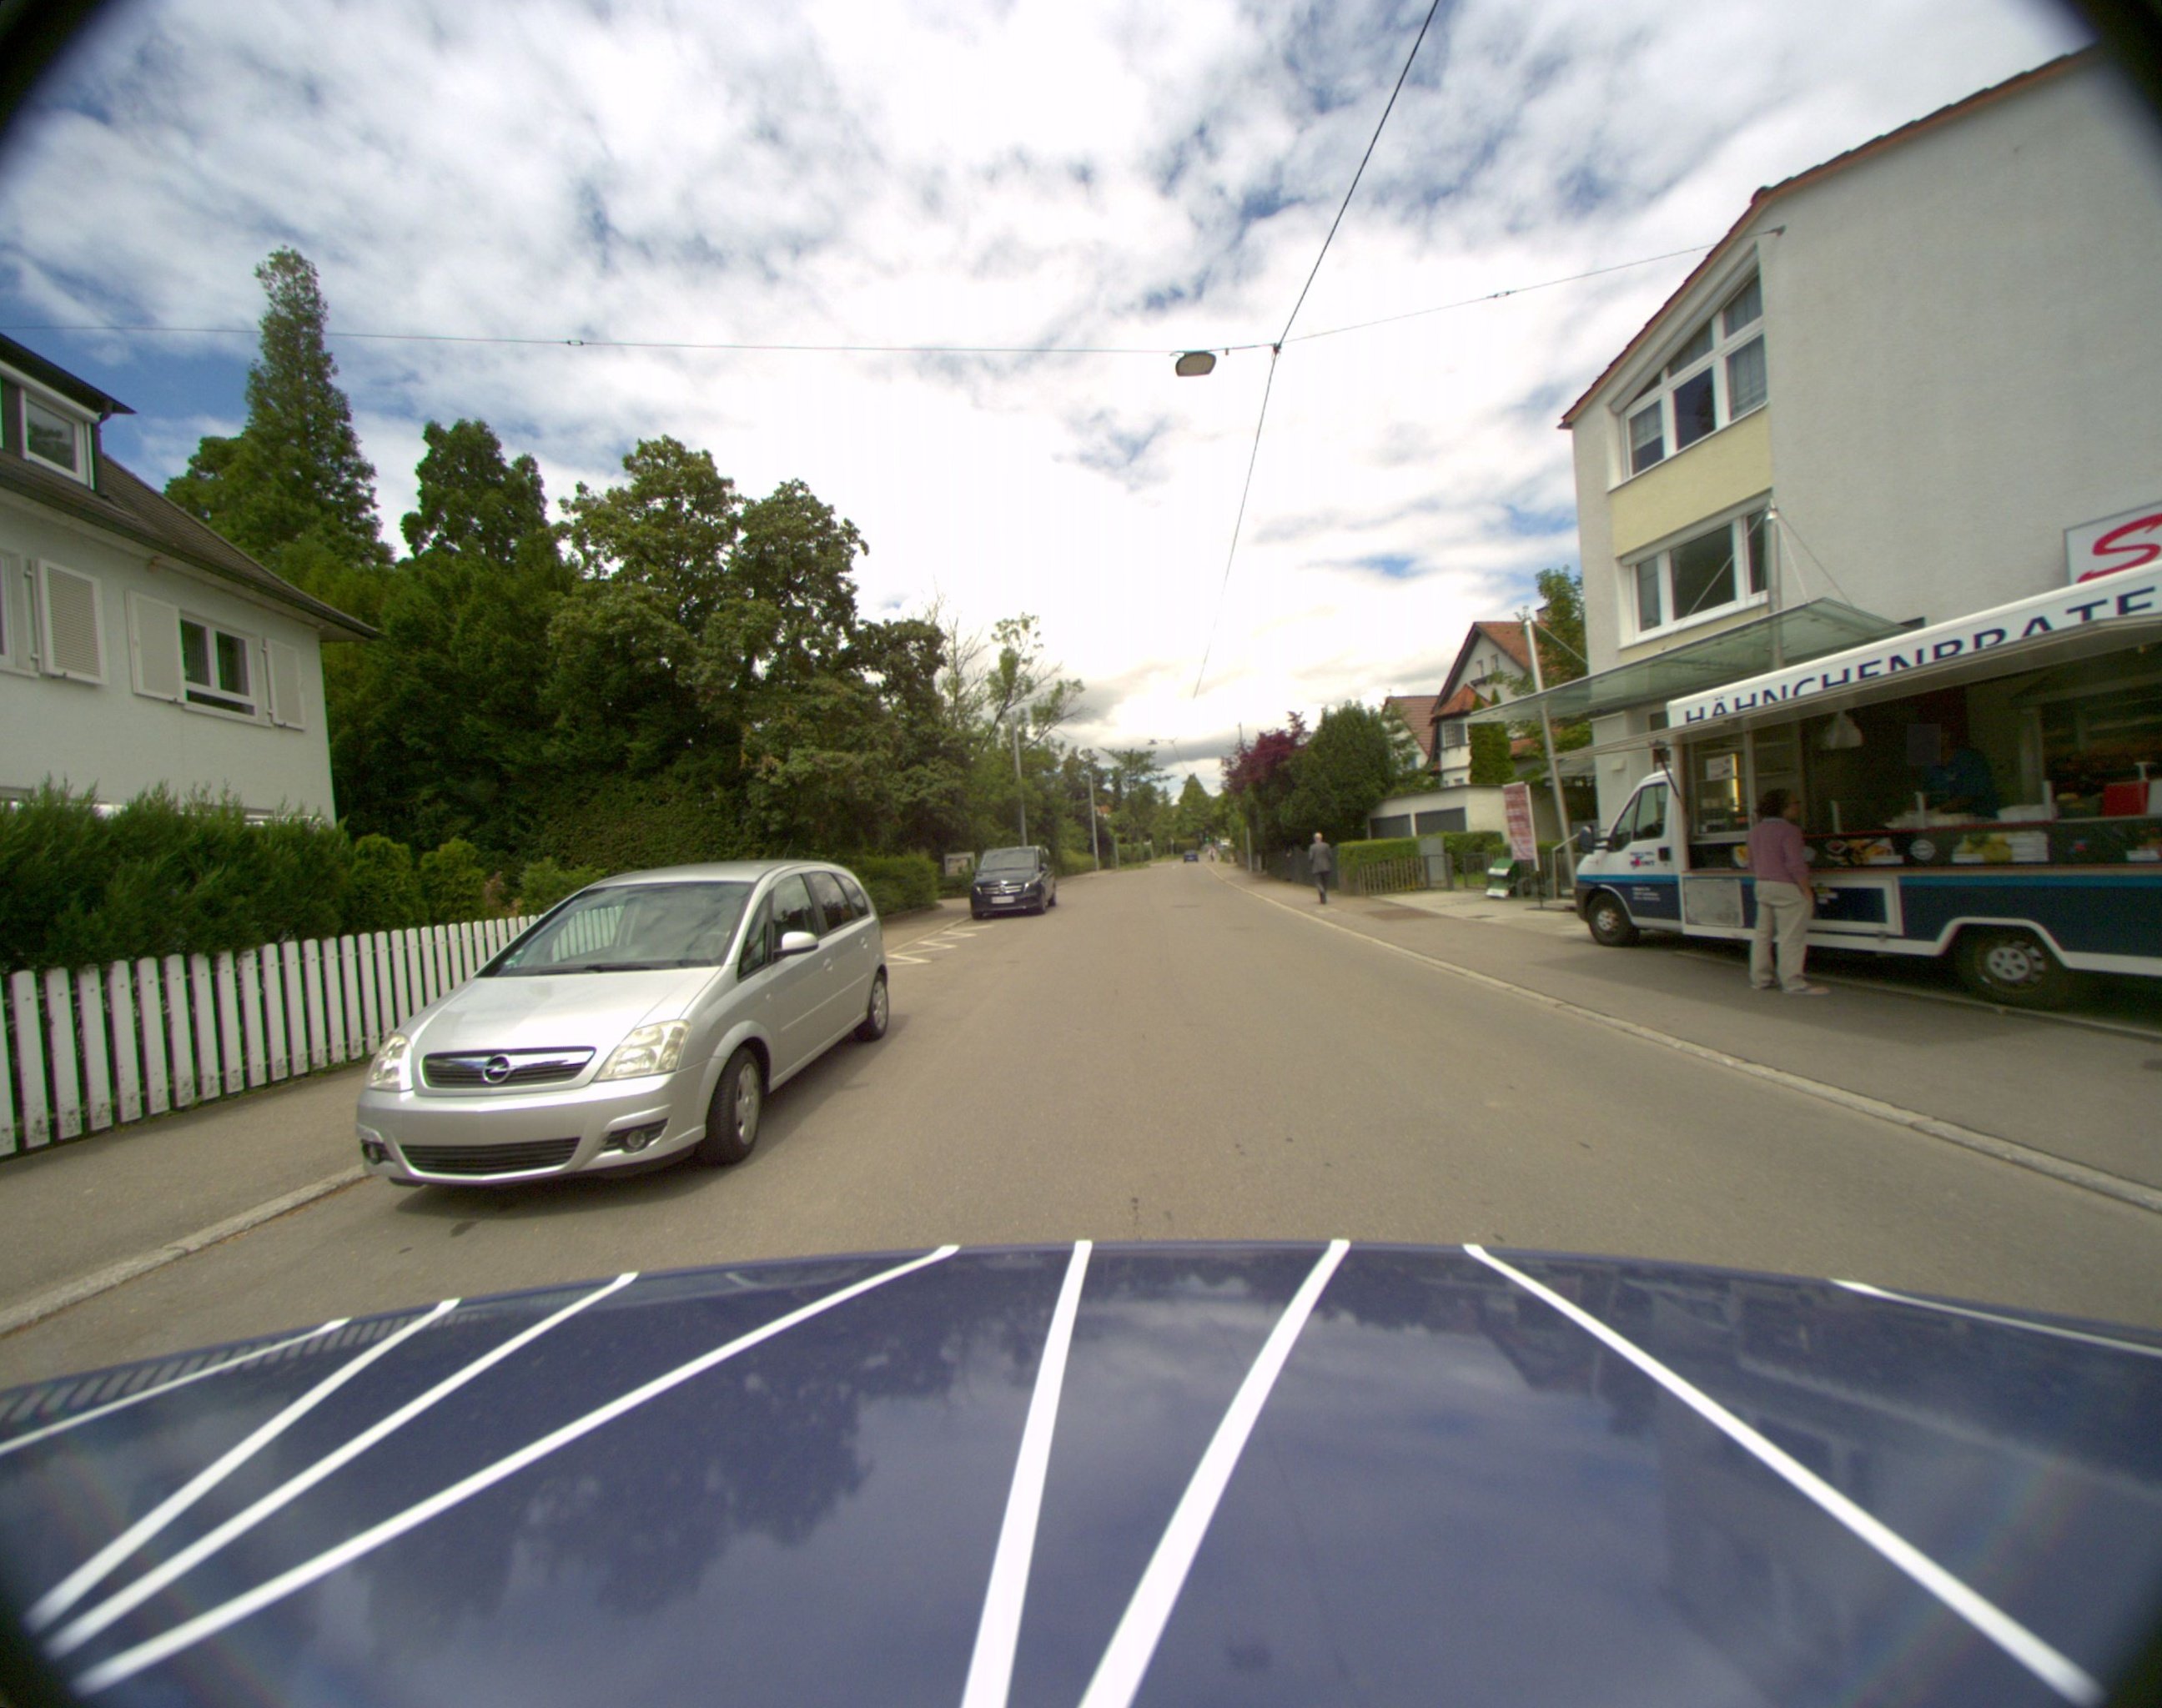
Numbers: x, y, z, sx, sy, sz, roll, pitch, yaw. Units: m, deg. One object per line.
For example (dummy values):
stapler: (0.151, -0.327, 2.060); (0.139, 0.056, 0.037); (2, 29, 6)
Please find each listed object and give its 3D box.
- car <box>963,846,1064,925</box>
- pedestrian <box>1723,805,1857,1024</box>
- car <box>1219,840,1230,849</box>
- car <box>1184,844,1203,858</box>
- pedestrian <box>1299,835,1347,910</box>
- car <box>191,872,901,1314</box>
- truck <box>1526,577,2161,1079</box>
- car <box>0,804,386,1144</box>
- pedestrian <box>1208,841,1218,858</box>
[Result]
car: (-1.742, 0.769, 21.511); (1.913, 1.837, 5.158); (-4, 0, 4)
pedestrian: (5.817, 0.474, 6.260); (0.402, 1.685, 0.597); (-6, 1, -1)
car: (27.628, -1.859, 146.666); (1.844, 1.646, 4.140); (-1, 1, 7)
car: (13.638, -0.381, 91.806); (1.696, 1.423, 3.931); (-5, 0, 16)
pedestrian: (5.792, 0.410, 18.236); (0.724, 1.677, 1.109); (-6, 2, 4)
car: (-2.595, 1.003, 5.027); (1.764, 1.573, 4.018); (-2, 1, 0)
truck: (7.259, -0.219, 6.705); (2.479, 2.824, 6.706); (-4, 0, -1)
car: (-9.923, 1.057, 6.964); (2.505, 2.666, 5.183); (-6, 0, -8)
pedestrian: (14.083, -0.463, 81.156); (0.821, 1.734, 0.604); (-6, 1, 10)
